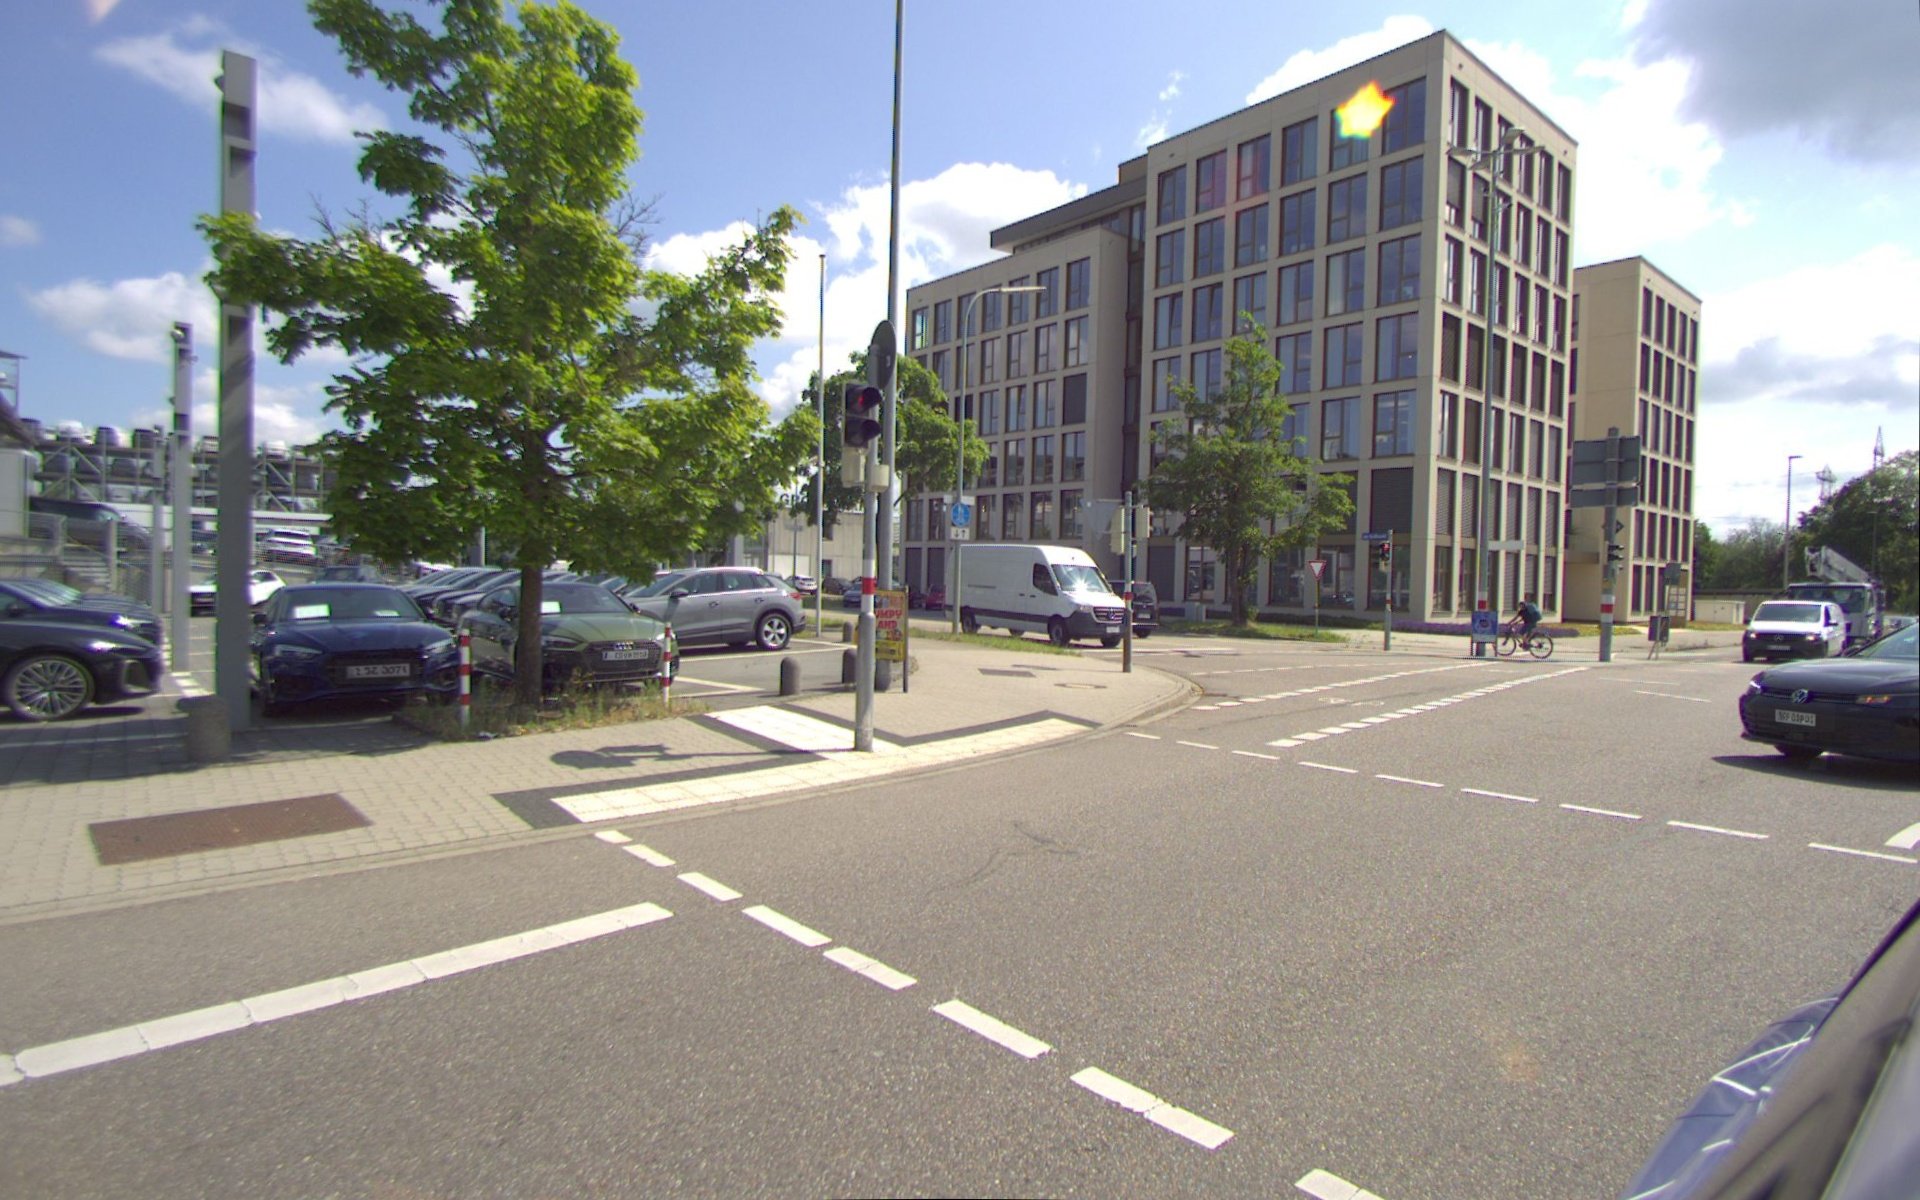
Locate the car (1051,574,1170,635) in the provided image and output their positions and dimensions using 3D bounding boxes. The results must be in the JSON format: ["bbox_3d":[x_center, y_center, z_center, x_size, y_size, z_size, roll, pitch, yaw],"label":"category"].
[{"bbox_3d":[5.003,0.120,34.109,1.793,1.929,4.003,2,0,-32],"label":"car"}]

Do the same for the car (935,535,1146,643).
[{"bbox_3d":[2.028,-0.272,28.464,2.098,2.640,6.866,3,-1,-33],"label":"car"}]

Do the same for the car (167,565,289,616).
[{"bbox_3d":[-26.713,-0.318,37.136,1.867,1.699,4.598,2,-1,-12],"label":"car"}]

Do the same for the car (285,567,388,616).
[{"bbox_3d":[-23.904,-0.298,38.994,1.867,1.699,4.598,2,-1,-12],"label":"car"}]

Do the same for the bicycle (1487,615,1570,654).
[{"bbox_3d":[16.084,0.976,28.690,0.636,1.024,1.979,3,-1,-32],"label":"bicycle"}]

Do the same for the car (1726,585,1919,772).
[{"bbox_3d":[10.119,0.706,9.270,5.098,1.497,1.817,2,0,-7],"label":"car"}]

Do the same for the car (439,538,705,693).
[{"bbox_3d":[-5.310,0.169,13.446,1.873,1.699,4.584,3,-1,-40],"label":"car"}]

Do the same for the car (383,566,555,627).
[{"bbox_3d":[-15.387,-0.079,31.830,4.506,1.699,1.905,3,-1,-39],"label":"car"}]

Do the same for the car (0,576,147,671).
[{"bbox_3d":[-16.444,0.401,16.687,4.673,1.530,1.981,0,-2,-42],"label":"car"}]

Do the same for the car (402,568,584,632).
[{"bbox_3d":[-13.708,0.029,29.858,4.506,1.699,1.905,3,-1,-39],"label":"car"}]

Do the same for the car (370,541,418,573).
[{"bbox_3d":[-30.682,-2.317,54.813,1.538,1.572,3.597,3,-1,-40],"label":"car"}]

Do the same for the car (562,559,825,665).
[{"bbox_3d":[-5.050,0.128,19.528,4.509,1.698,1.905,-4,3,-39],"label":"car"}]

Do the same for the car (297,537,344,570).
[{"bbox_3d":[-33.643,-2.404,53.217,1.538,1.572,3.597,3,-1,-40],"label":"car"}]

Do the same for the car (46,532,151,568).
[{"bbox_3d":[-45.123,-2.597,53.056,1.758,1.572,3.938,1,-1,42],"label":"car"}]

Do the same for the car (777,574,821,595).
[{"bbox_3d":[-14.216,-1.360,89.169,1.964,1.705,3.994,3,-1,-40],"label":"car"}]

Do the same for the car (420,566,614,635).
[{"bbox_3d":[-12.141,0.060,27.876,4.506,1.699,1.905,3,-1,-39],"label":"car"}]

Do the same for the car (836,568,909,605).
[{"bbox_3d":[-5.207,-0.807,60.608,3.933,2.039,1.995,3,-1,-44],"label":"car"}]

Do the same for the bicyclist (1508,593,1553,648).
[{"bbox_3d":[16.136,0.574,28.642,0.626,1.496,0.916,3,-1,-33],"label":"bicyclist"}]

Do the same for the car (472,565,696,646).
[{"bbox_3d":[-8.720,0.176,23.693,4.506,1.699,1.905,3,-1,-39],"label":"car"}]

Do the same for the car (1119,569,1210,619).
[{"bbox_3d":[8.975,-0.236,44.277,3.933,2.039,1.995,3,-1,-44],"label":"car"}]

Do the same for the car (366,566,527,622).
[{"bbox_3d":[-17.225,-0.168,34.077,4.506,1.699,1.905,3,-1,-39],"label":"car"}]

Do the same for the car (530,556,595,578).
[{"bbox_3d":[-44.056,-3.604,112.199,6.244,2.039,2.571,3,-1,-38],"label":"car"}]

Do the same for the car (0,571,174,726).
[{"bbox_3d":[-10.514,0.482,9.658,4.673,1.483,1.792,0,-2,-41],"label":"car"}]

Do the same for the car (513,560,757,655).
[{"bbox_3d":[-6.811,0.077,21.463,4.509,1.698,1.905,-3,3,-39],"label":"car"}]

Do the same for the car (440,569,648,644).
[{"bbox_3d":[-10.508,0.202,25.745,4.506,1.699,1.905,3,-1,-39],"label":"car"}]

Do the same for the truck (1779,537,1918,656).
[{"bbox_3d":[30.850,0.034,34.958,9.616,3.600,2.669,3,-1,-43],"label":"truck"}]

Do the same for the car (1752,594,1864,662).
[{"bbox_3d":[25.261,0.840,30.088,4.907,1.861,1.996,3,-1,-43],"label":"car"}]

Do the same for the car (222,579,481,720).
[{"bbox_3d":[-7.254,0.466,11.816,1.873,1.314,4.584,3,-1,-40],"label":"car"}]

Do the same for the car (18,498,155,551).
[{"bbox_3d":[-37.696,-3.211,43.791,4.378,1.824,1.762,3,-1,-41],"label":"car"}]
